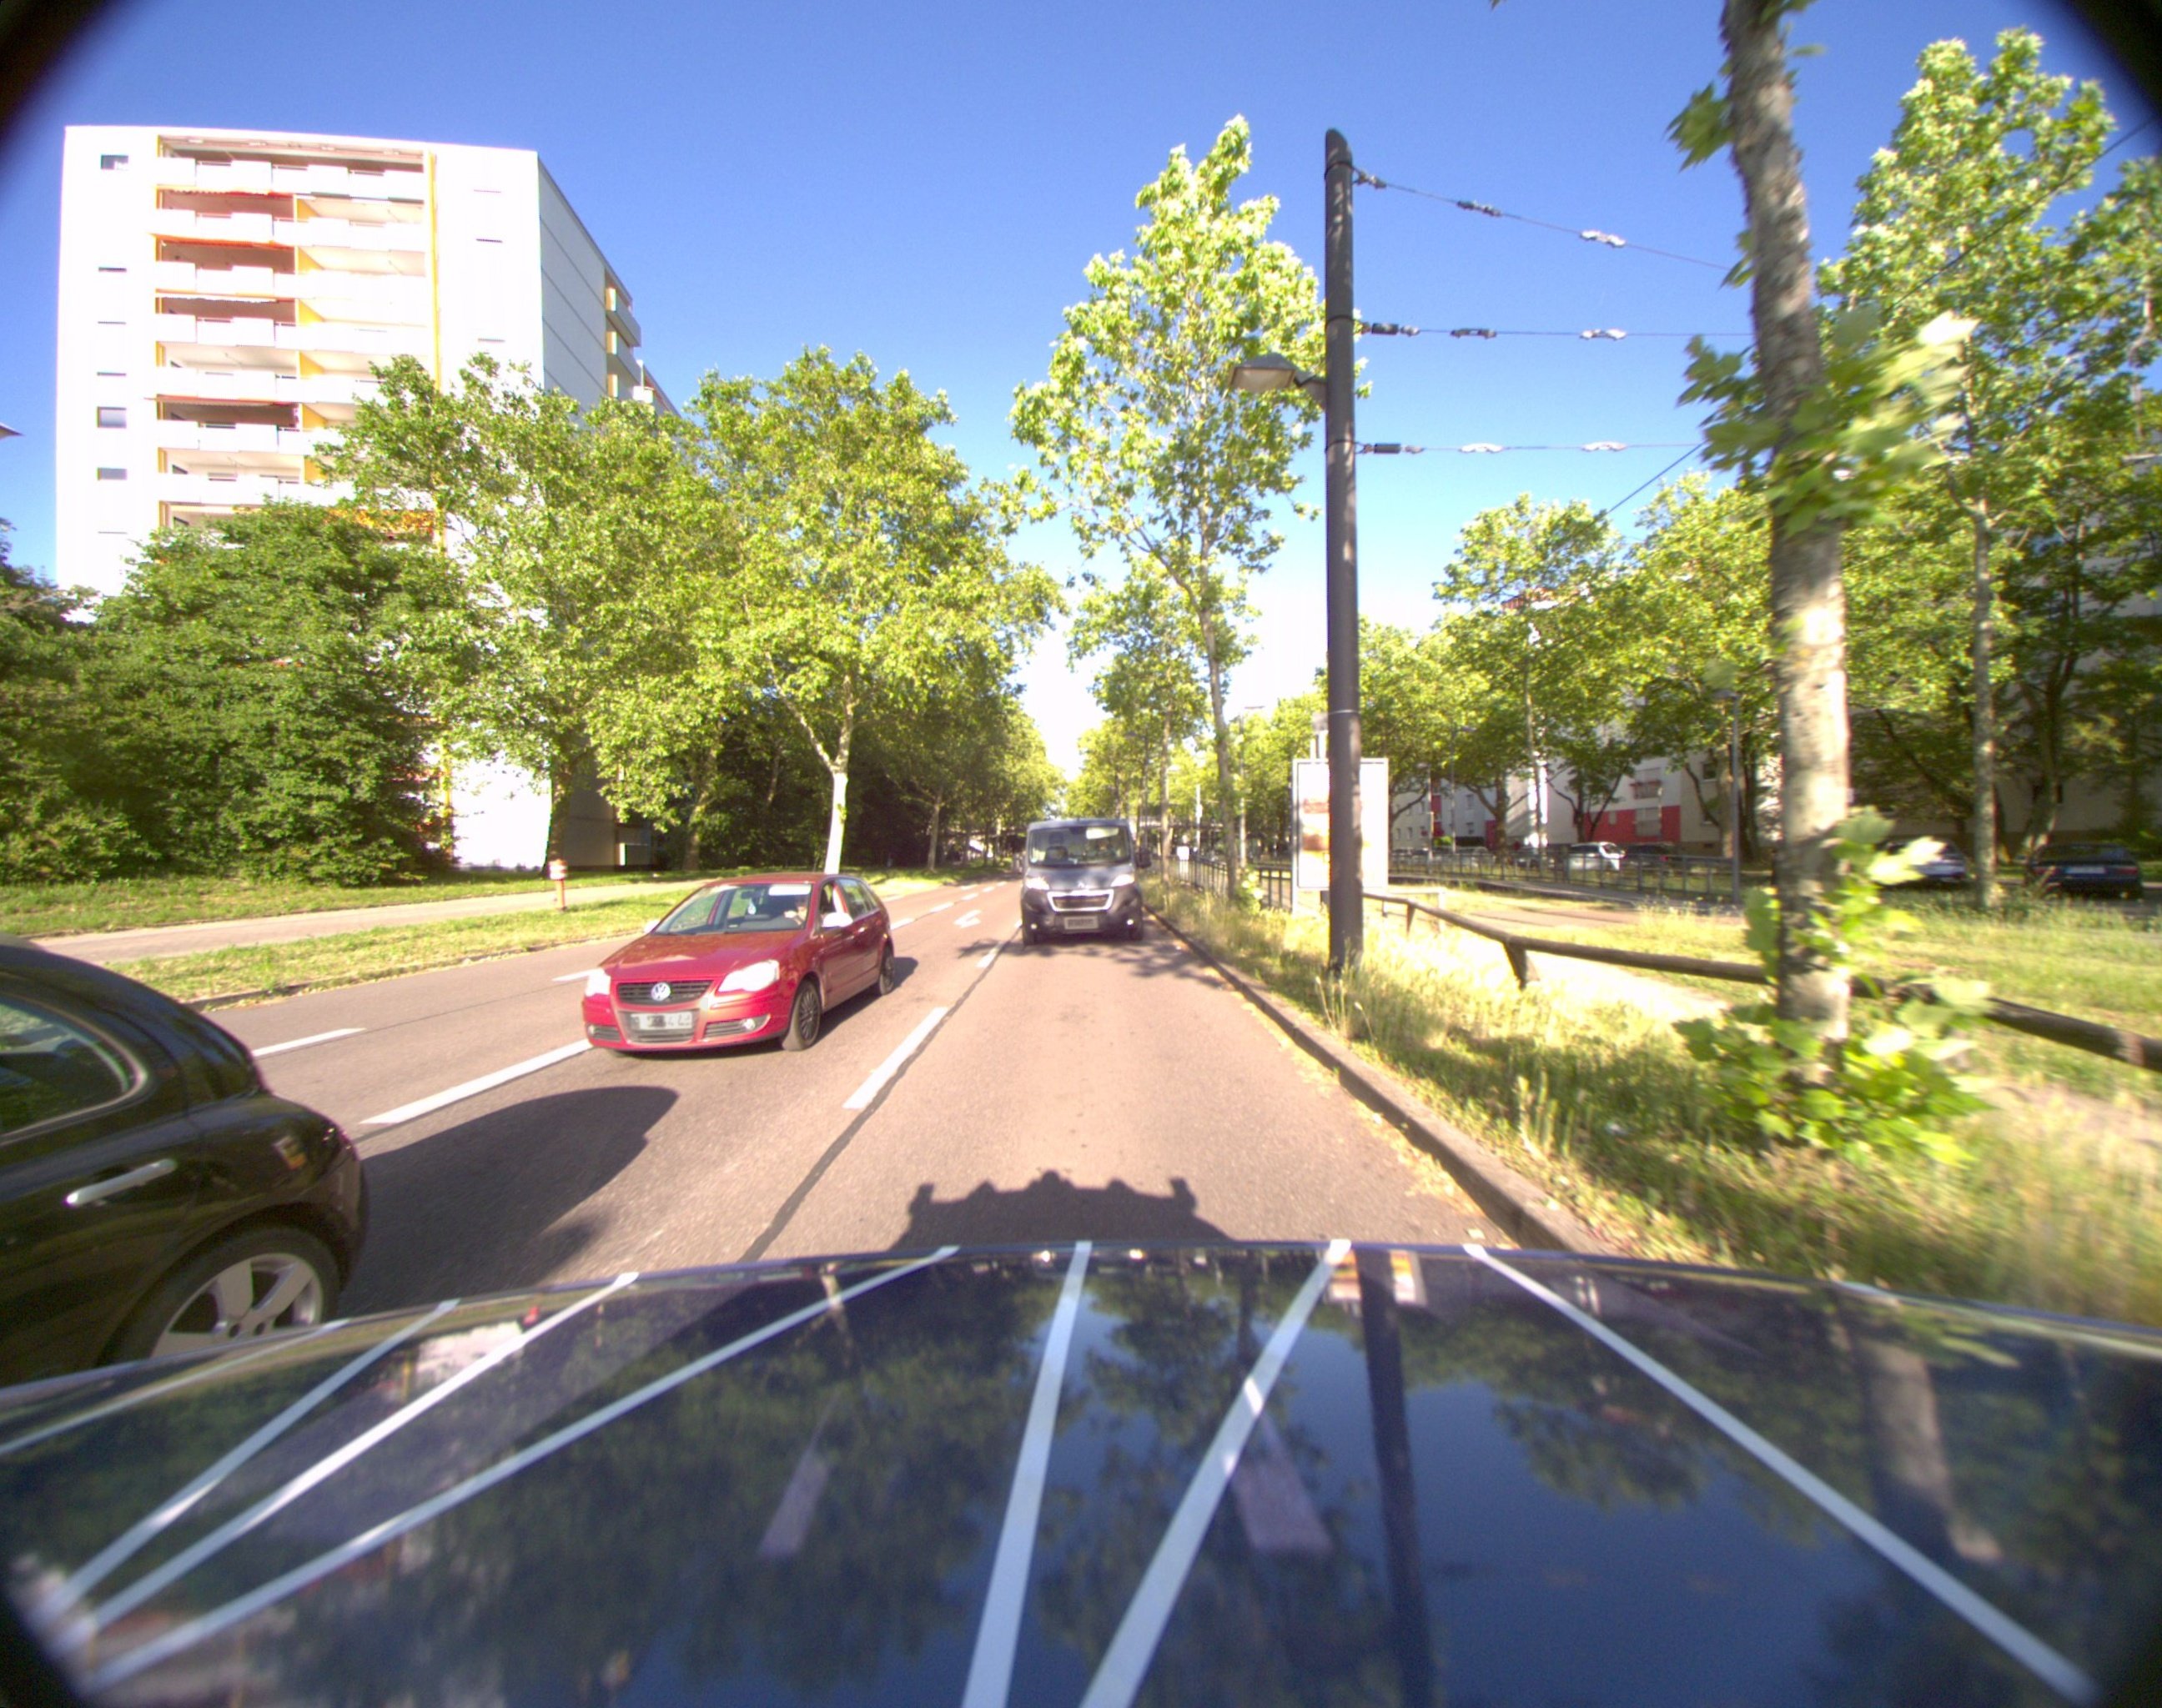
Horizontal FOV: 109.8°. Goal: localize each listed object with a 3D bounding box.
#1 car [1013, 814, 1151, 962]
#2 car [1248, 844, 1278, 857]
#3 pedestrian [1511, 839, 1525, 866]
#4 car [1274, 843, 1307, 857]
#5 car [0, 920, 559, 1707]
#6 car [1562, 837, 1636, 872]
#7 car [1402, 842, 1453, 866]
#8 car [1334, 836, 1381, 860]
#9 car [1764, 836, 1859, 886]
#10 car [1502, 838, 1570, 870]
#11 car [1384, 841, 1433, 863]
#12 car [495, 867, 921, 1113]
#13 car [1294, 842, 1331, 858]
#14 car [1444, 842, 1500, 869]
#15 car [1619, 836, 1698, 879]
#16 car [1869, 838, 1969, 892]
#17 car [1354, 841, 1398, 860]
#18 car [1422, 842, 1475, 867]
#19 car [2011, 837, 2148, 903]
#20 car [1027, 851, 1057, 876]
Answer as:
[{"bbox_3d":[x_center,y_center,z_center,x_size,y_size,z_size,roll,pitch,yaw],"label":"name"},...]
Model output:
[{"bbox_3d":[-0.034,0.488,14.331,2.040,2.191,5.660,-1,1,-1],"label":"car"},{"bbox_3d":[23.728,-0.479,99.097,4.057,1.490,1.791,-2,0,-43],"label":"car"},{"bbox_3d":[32.566,-0.110,56.607,0.681,2.002,0.645,-2,1,-4],"label":"pedestrian"},{"bbox_3d":[24.417,-0.479,88.386,4.057,1.490,1.791,-2,0,-43],"label":"car"},{"bbox_3d":[-3.094,1.040,0.916,1.739,1.474,4.621,-1,0,-1],"label":"car"},{"bbox_3d":[24.363,-0.005,35.689,4.057,1.490,1.791,-2,0,-40],"label":"car"},{"bbox_3d":[24.632,-0.010,53.951,4.057,1.490,1.791,-2,0,-43],"label":"car"},{"bbox_3d":[24.045,-0.530,66.043,4.441,1.908,2.016,-2,0,-43],"label":"car"},{"bbox_3d":[24.142,0.202,25.073,4.057,1.490,1.791,-2,0,-40],"label":"car"},{"bbox_3d":[23.715,-0.030,39.551,4.057,1.490,1.791,-2,0,-40],"label":"car"},{"bbox_3d":[24.463,-0.156,56.697,4.057,1.490,1.791,-2,0,-43],"label":"car"},{"bbox_3d":[-3.035,0.970,7.531,1.772,1.549,4.726,-1,0,1],"label":"car"},{"bbox_3d":[23.874,-0.406,78.331,4.057,1.490,1.791,-2,0,-43],"label":"car"},{"bbox_3d":[24.167,0.074,46.925,4.057,1.490,1.791,-2,0,-43],"label":"car"},{"bbox_3d":[24.497,0.128,32.189,4.057,1.654,1.791,-2,0,-40],"label":"car"},{"bbox_3d":[24.204,0.283,21.970,4.057,1.379,1.791,-2,0,-42],"label":"car"},{"bbox_3d":[24.562,-0.302,63.178,4.057,1.490,1.791,-2,0,-43],"label":"car"},{"bbox_3d":[24.583,0.013,50.752,4.057,1.490,1.791,-2,0,-43],"label":"car"},{"bbox_3d":[24.099,0.338,18.473,4.057,1.379,1.673,-2,0,-42],"label":"car"},{"bbox_3d":[-2.691,0.615,51.823,1.914,1.549,4.724,-1,0,-4],"label":"car"}]
